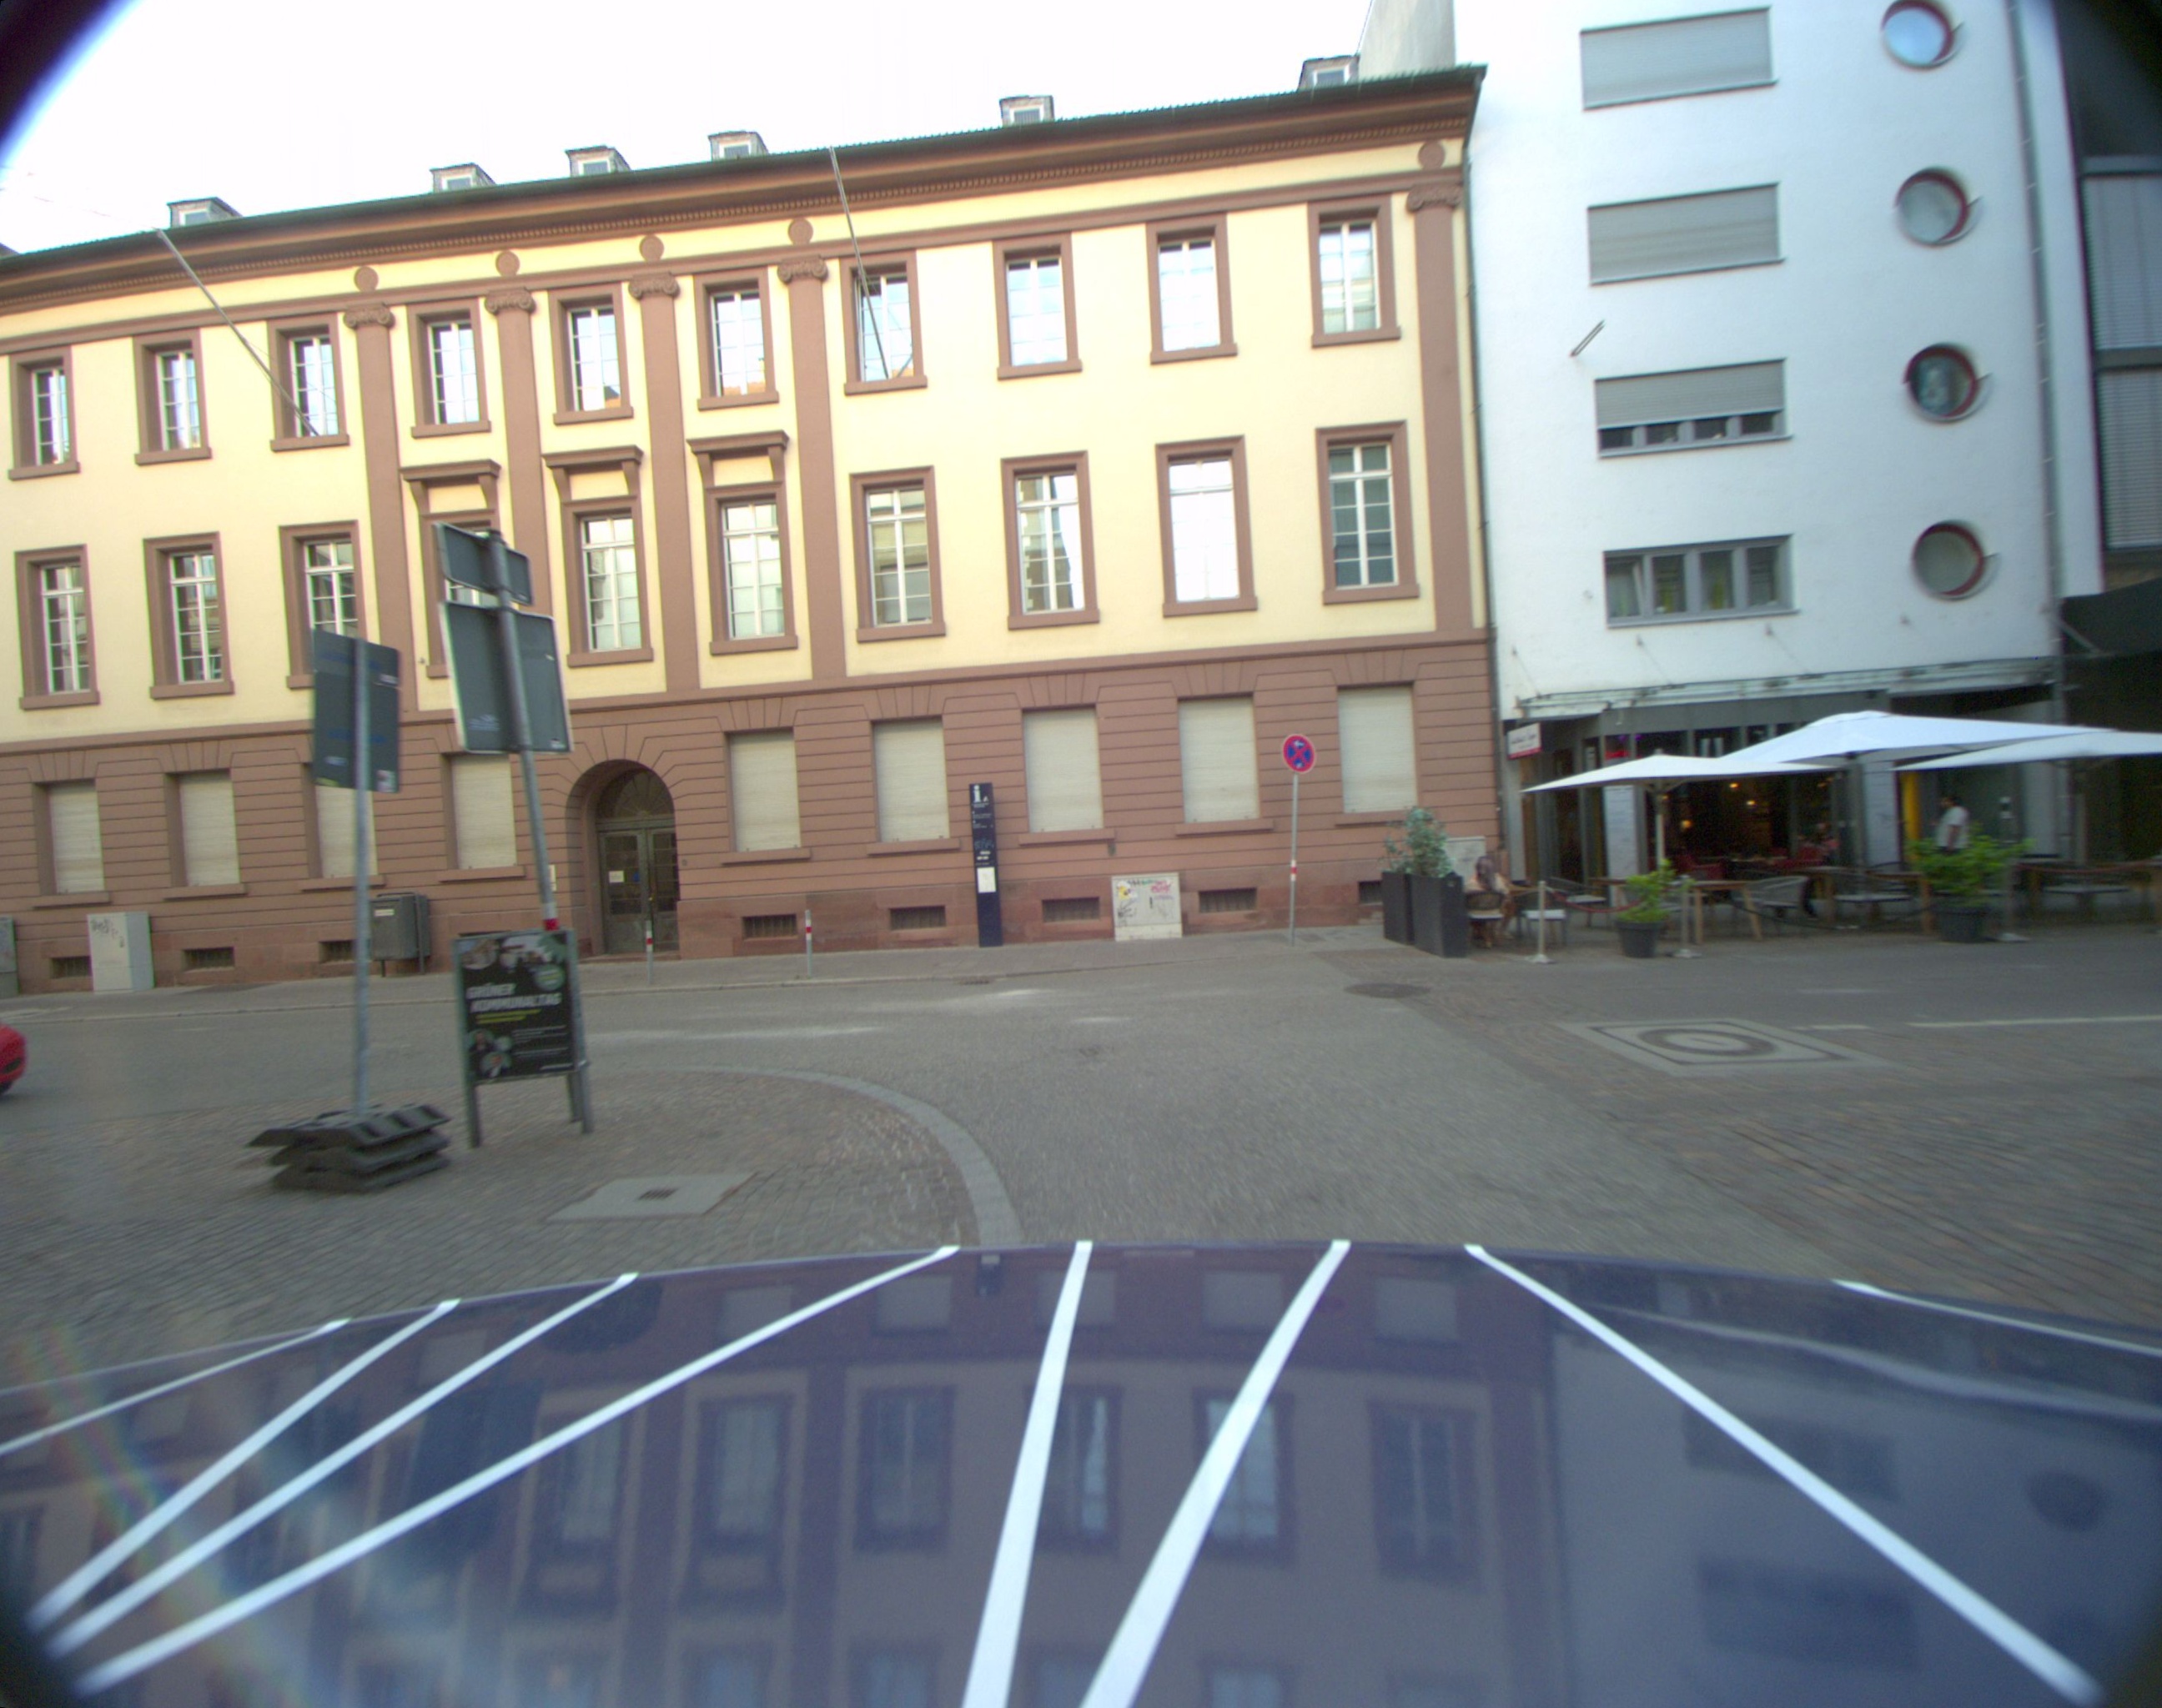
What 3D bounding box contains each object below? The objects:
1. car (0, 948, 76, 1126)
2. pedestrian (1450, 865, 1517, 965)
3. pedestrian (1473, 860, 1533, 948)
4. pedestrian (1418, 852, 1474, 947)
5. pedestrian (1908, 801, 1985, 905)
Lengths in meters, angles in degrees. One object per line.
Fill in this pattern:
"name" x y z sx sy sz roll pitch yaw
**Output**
"car" -11.162 1.720 6.168 3.995 1.435 1.650 -4 3 5
"pedestrian" 5.075 0.760 9.601 0.561 1.204 0.461 -3 1 6
"pedestrian" 6.107 0.710 11.011 0.548 1.204 0.524 -3 1 6
"pedestrian" 5.352 0.657 11.171 0.548 1.341 0.489 -3 1 6
"pedestrian" 14.371 -0.025 12.622 0.671 1.656 0.623 -4 1 -24
